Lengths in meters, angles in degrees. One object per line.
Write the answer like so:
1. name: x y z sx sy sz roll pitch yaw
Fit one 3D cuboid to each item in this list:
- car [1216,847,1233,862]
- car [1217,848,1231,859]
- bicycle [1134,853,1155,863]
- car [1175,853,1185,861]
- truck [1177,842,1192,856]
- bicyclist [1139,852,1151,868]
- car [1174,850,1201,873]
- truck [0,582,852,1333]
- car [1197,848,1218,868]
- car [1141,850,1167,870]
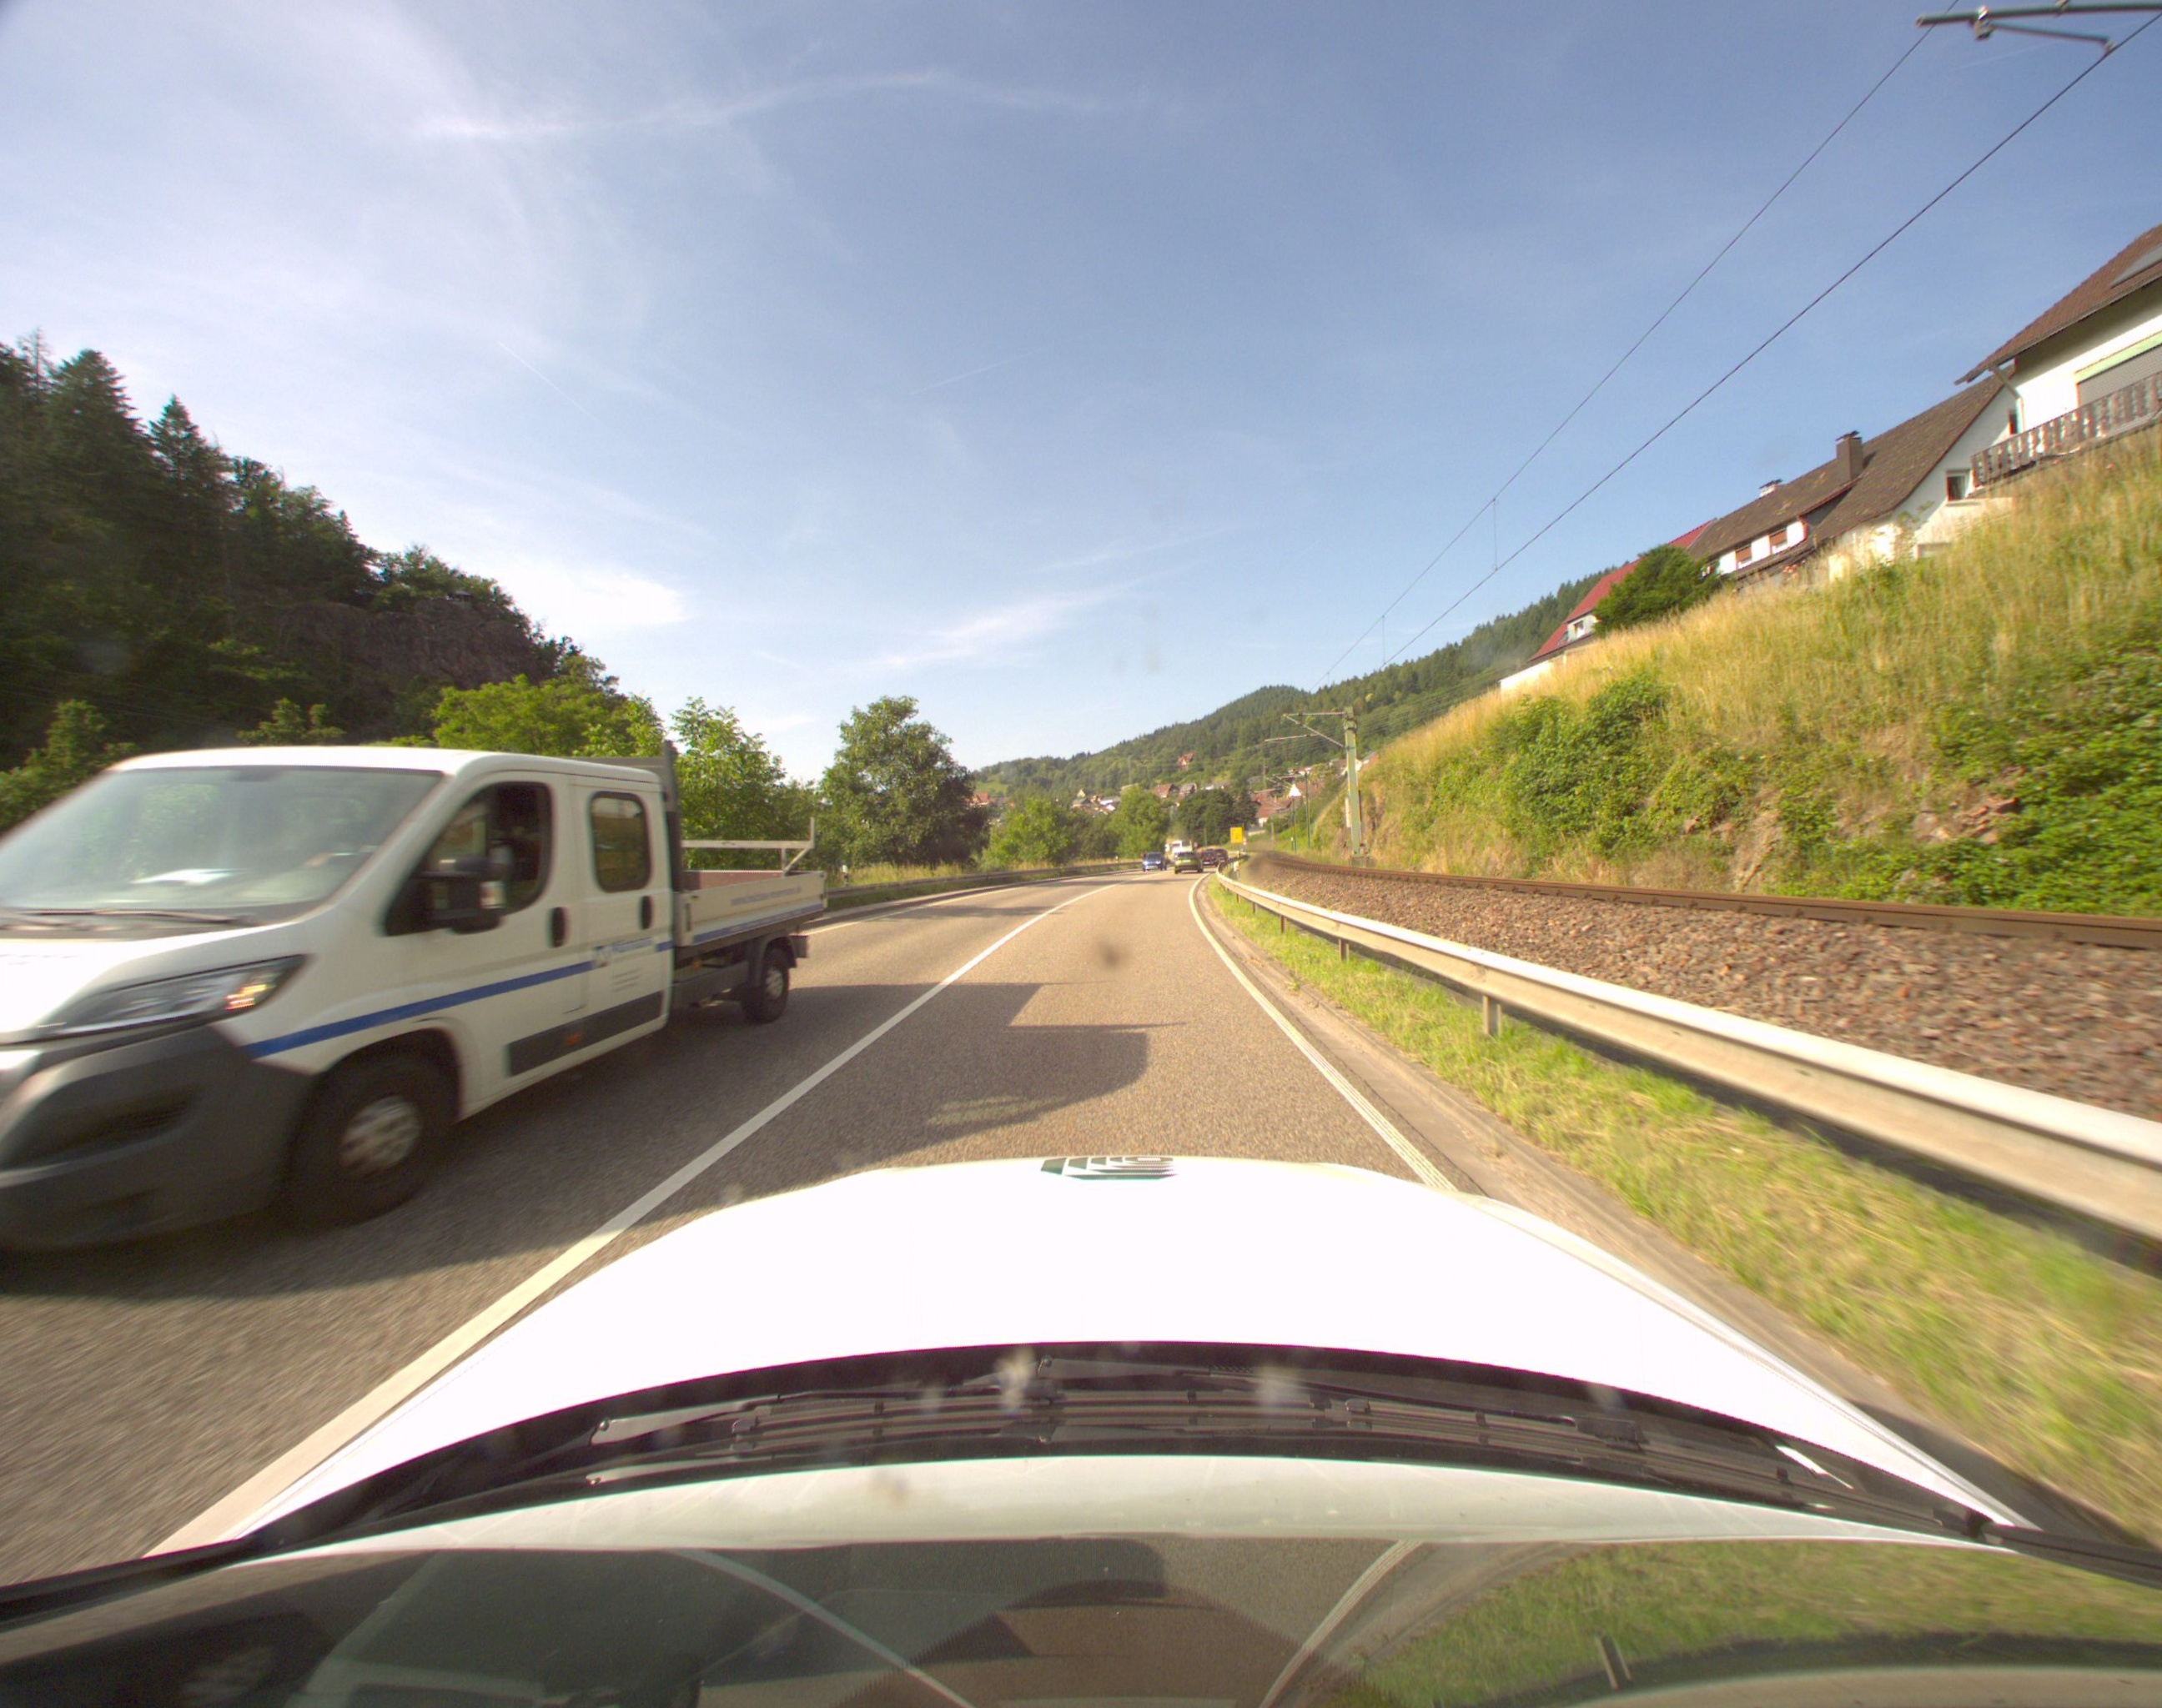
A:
1. car: 17.255 0.085 97.619 1.867 1.686 4.013 -1 0 12
2. car: 21.189 -0.103 120.555 1.838 1.527 3.671 -3 0 8
3. bicycle: 6.384 0.421 82.219 2.201 1.045 0.562 -1 1 42
4. car: 19.565 0.649 160.725 1.567 1.479 4.014 3 1 13
5. truck: 23.588 -1.160 184.994 2.702 3.084 6.110 -1 0 1
6. bicyclist: 6.492 0.610 82.121 1.022 1.586 0.562 -1 1 43
7. car: 7.258 0.509 55.220 1.705 1.455 4.009 -1 0 8
8. truck: -3.865 0.330 5.976 2.148 2.366 6.751 0 0 3
9. car: 10.771 0.330 69.336 1.657 1.559 4.011 -1 0 10
10. car: 6.254 0.492 69.100 1.740 1.567 4.013 -1 0 11
